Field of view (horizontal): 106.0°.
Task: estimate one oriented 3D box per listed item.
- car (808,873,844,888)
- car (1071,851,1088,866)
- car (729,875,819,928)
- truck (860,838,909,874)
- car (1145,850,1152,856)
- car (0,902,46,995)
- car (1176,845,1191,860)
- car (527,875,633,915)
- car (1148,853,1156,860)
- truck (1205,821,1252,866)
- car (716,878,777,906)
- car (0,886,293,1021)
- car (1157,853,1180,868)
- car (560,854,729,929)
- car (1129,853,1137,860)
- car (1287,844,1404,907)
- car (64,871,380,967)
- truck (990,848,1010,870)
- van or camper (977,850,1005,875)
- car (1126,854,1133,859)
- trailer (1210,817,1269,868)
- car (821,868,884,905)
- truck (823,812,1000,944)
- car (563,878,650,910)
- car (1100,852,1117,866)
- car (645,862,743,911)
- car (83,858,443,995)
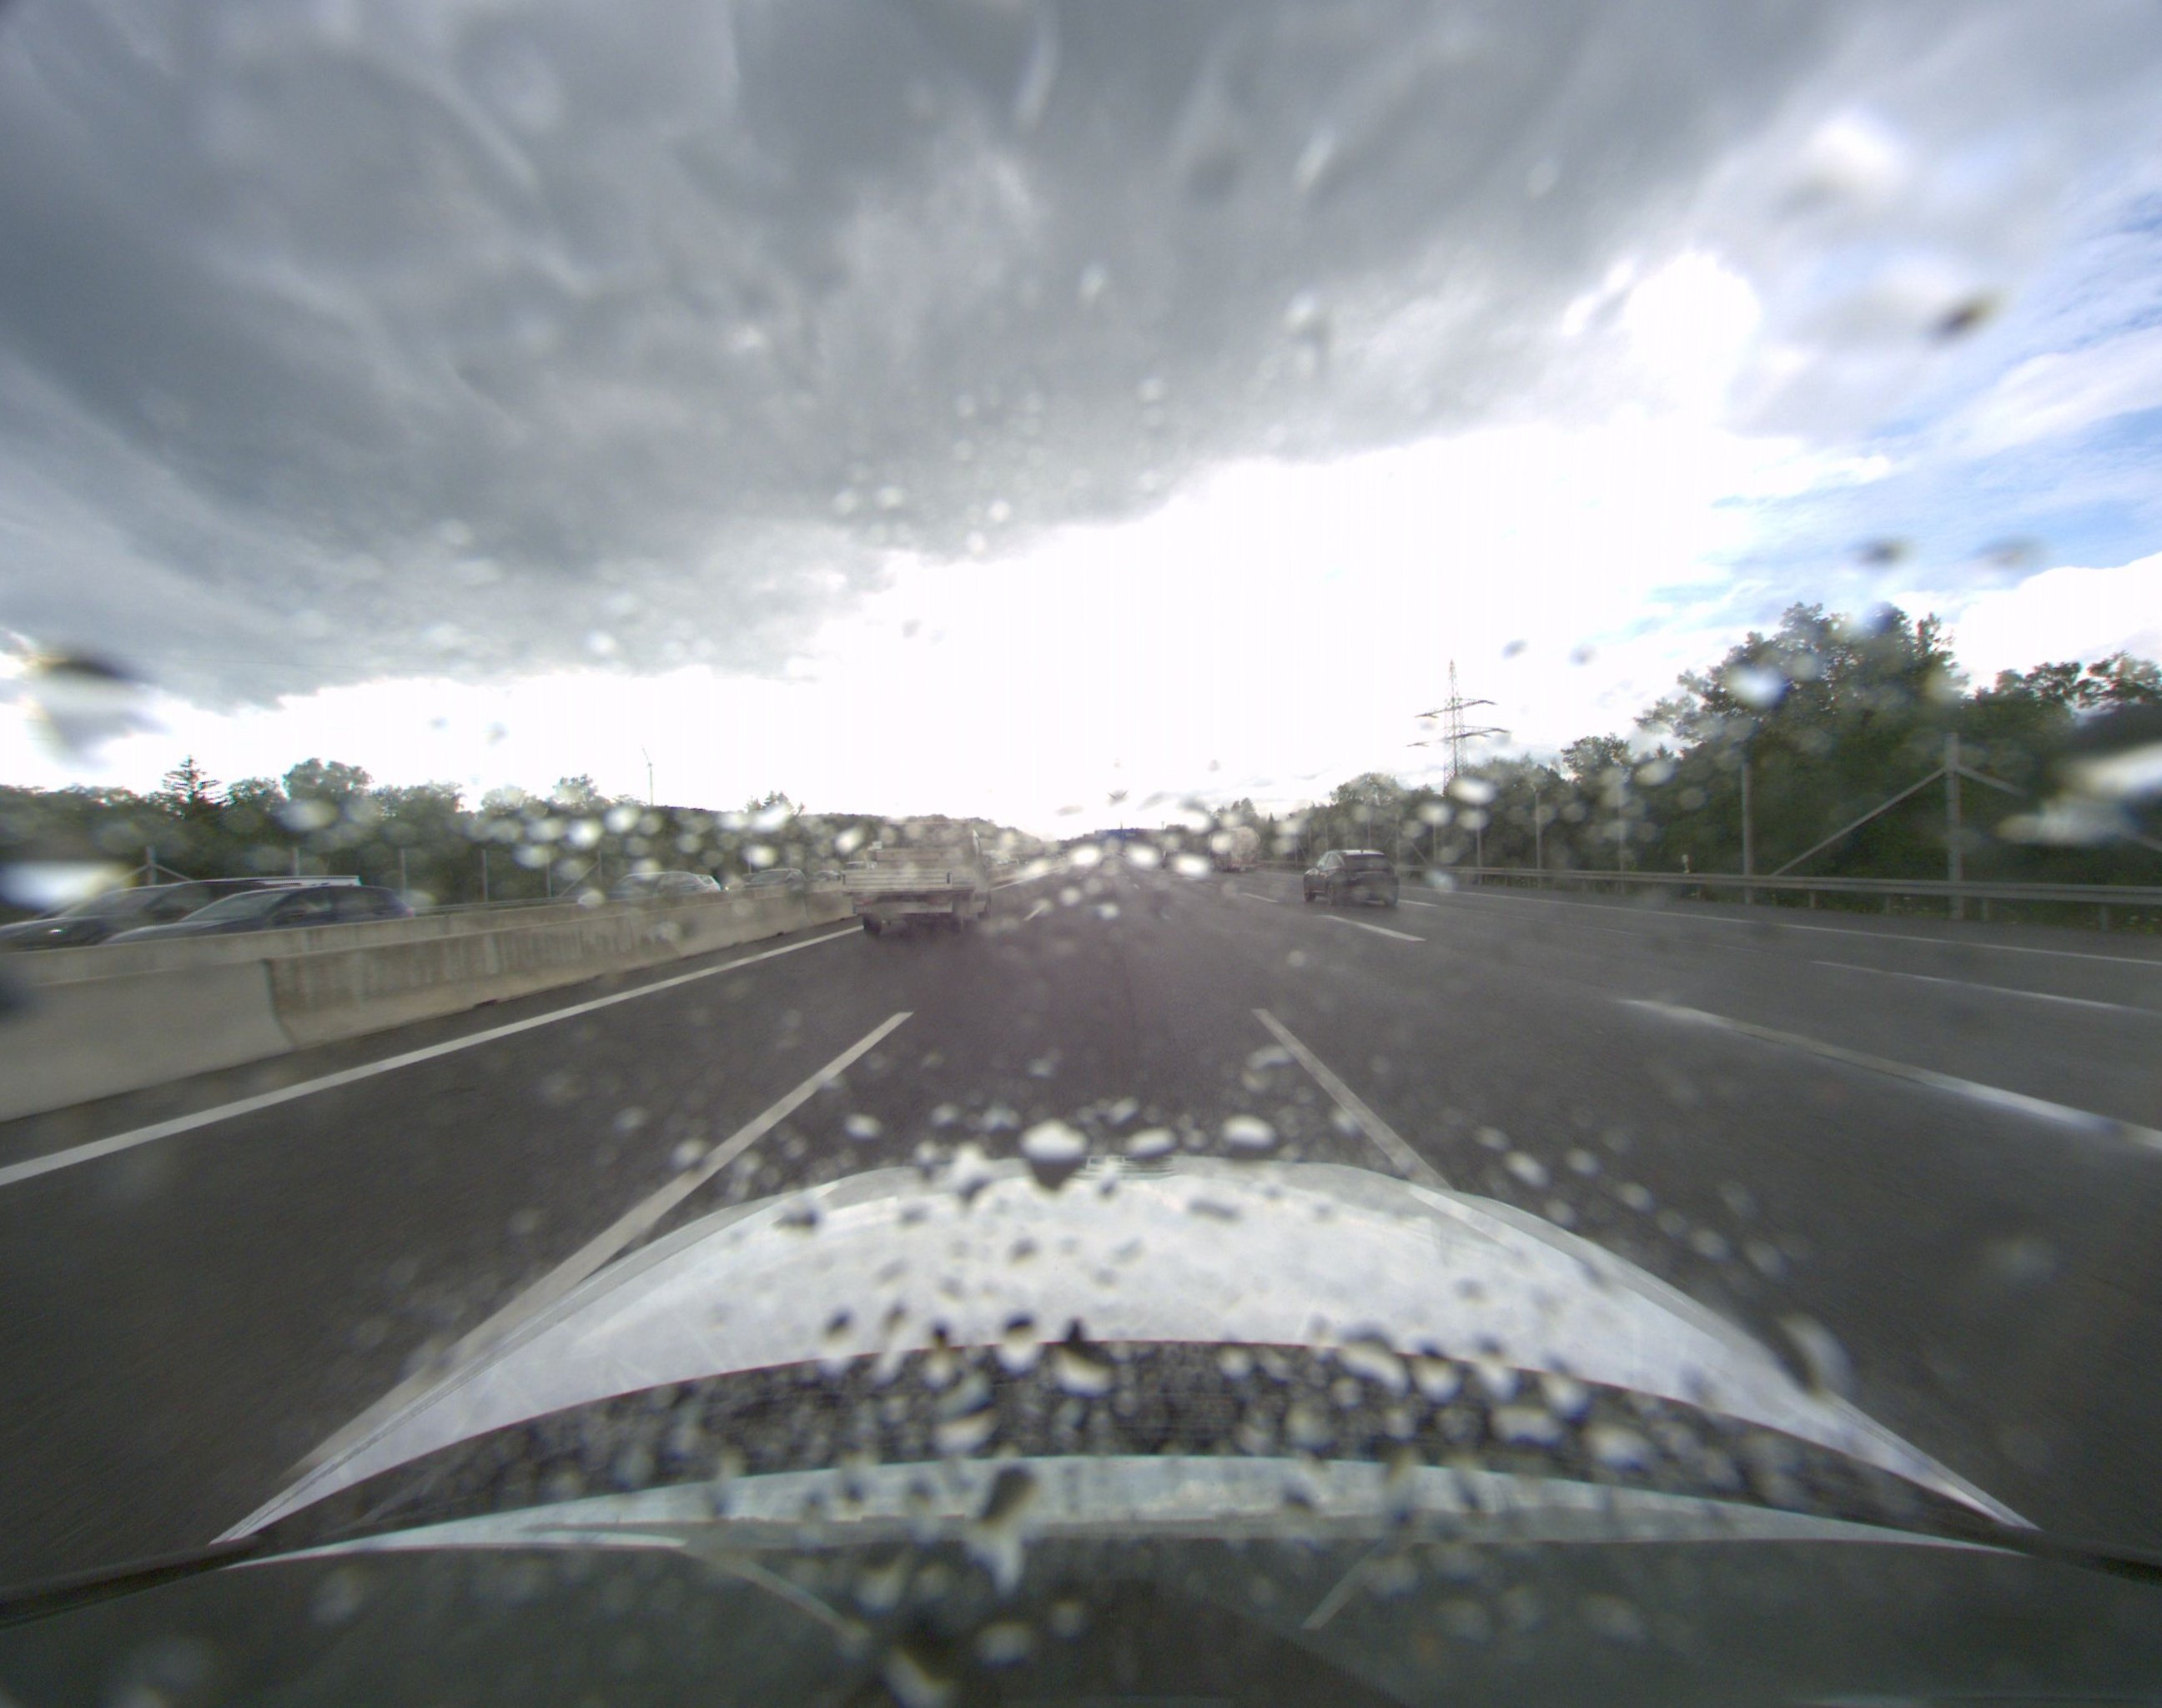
[{"bbox_3d":[-22.662,2.344,72.530,1.640,1.208,4.363,-1,0,2],"label":"car"},{"bbox_3d":[-0.175,0.551,103.772,2.037,1.699,4.002,-1,1,2],"label":"car"},{"bbox_3d":[-12.735,1.903,34.064,2.108,1.937,4.002,-1,0,2],"label":"car"},{"bbox_3d":[-19.545,0.148,81.342,3.032,3.406,6.530,-1,0,2],"label":"truck"},{"bbox_3d":[21.195,-0.344,256.114,2.037,1.699,4.003,-1,1,3],"label":"car"},{"bbox_3d":[-25.152,2.138,16.934,1.984,2.013,4.006,-1,0,5],"label":"car"},{"bbox_3d":[16.709,-0.277,133.035,2.037,2.498,4.002,-1,1,2],"label":"car"},{"bbox_3d":[-20.819,1.666,34.042,1.860,1.452,4.002,-1,0,2],"label":"car"},{"bbox_3d":[19.107,0.661,218.478,1.986,1.750,4.498,-1,0,2],"label":"car"},{"bbox_3d":[14.220,-0.980,79.159,3.320,4.080,8.275,-1,0,2],"label":"truck"},{"bbox_3d":[-20.115,2.260,49.159,1.863,1.457,4.142,-1,0,2],"label":"car"},{"bbox_3d":[-17.432,1.668,14.977,1.886,1.953,4.002,-1,0,2],"label":"car"},{"bbox_3d":[10.262,0.722,95.508,2.092,1.699,3.998,-1,1,-2],"label":"car"},{"bbox_3d":[-12.836,1.006,24.447,2.108,1.937,5.217,-1,0,2],"label":"car"},{"bbox_3d":[13.888,0.562,217.166,2.037,1.699,4.003,-1,1,3],"label":"car"},{"bbox_3d":[7.777,0.567,24.489,2.037,1.699,5.009,0,1,2],"label":"car"},{"bbox_3d":[-21.245,1.481,20.645,2.108,1.937,5.441,-1,0,2],"label":"car"},{"bbox_3d":[-13.370,0.833,134.685,2.175,3.519,7.494,-1,0,2],"label":"truck"},{"bbox_3d":[-10.524,0.978,95.912,2.170,2.705,7.524,-1,0,2],"label":"van or camper"},{"bbox_3d":[15.248,0.802,255.317,1.861,1.728,4.002,-1,0,2],"label":"car"},{"bbox_3d":[14.029,-0.957,73.265,3.320,4.175,11.844,-1,0,2],"label":"trailer"},{"bbox_3d":[-12.151,1.691,43.614,1.863,1.759,4.708,-1,0,2],"label":"car"},{"bbox_3d":[-3.491,0.411,18.664,2.344,2.408,7.360,-1,1,1],"label":"truck"},{"bbox_3d":[-24.777,2.052,42.724,2.108,1.451,4.002,-1,0,2],"label":"car"},{"bbox_3d":[3.615,0.580,106.068,2.037,1.699,4.003,-1,1,3],"label":"car"},{"bbox_3d":[-17.189,1.384,36.446,2.108,1.937,4.428,-1,0,2],"label":"car"},{"bbox_3d":[-13.754,1.085,14.157,1.886,1.953,4.214,-1,0,2],"label":"car"}]
